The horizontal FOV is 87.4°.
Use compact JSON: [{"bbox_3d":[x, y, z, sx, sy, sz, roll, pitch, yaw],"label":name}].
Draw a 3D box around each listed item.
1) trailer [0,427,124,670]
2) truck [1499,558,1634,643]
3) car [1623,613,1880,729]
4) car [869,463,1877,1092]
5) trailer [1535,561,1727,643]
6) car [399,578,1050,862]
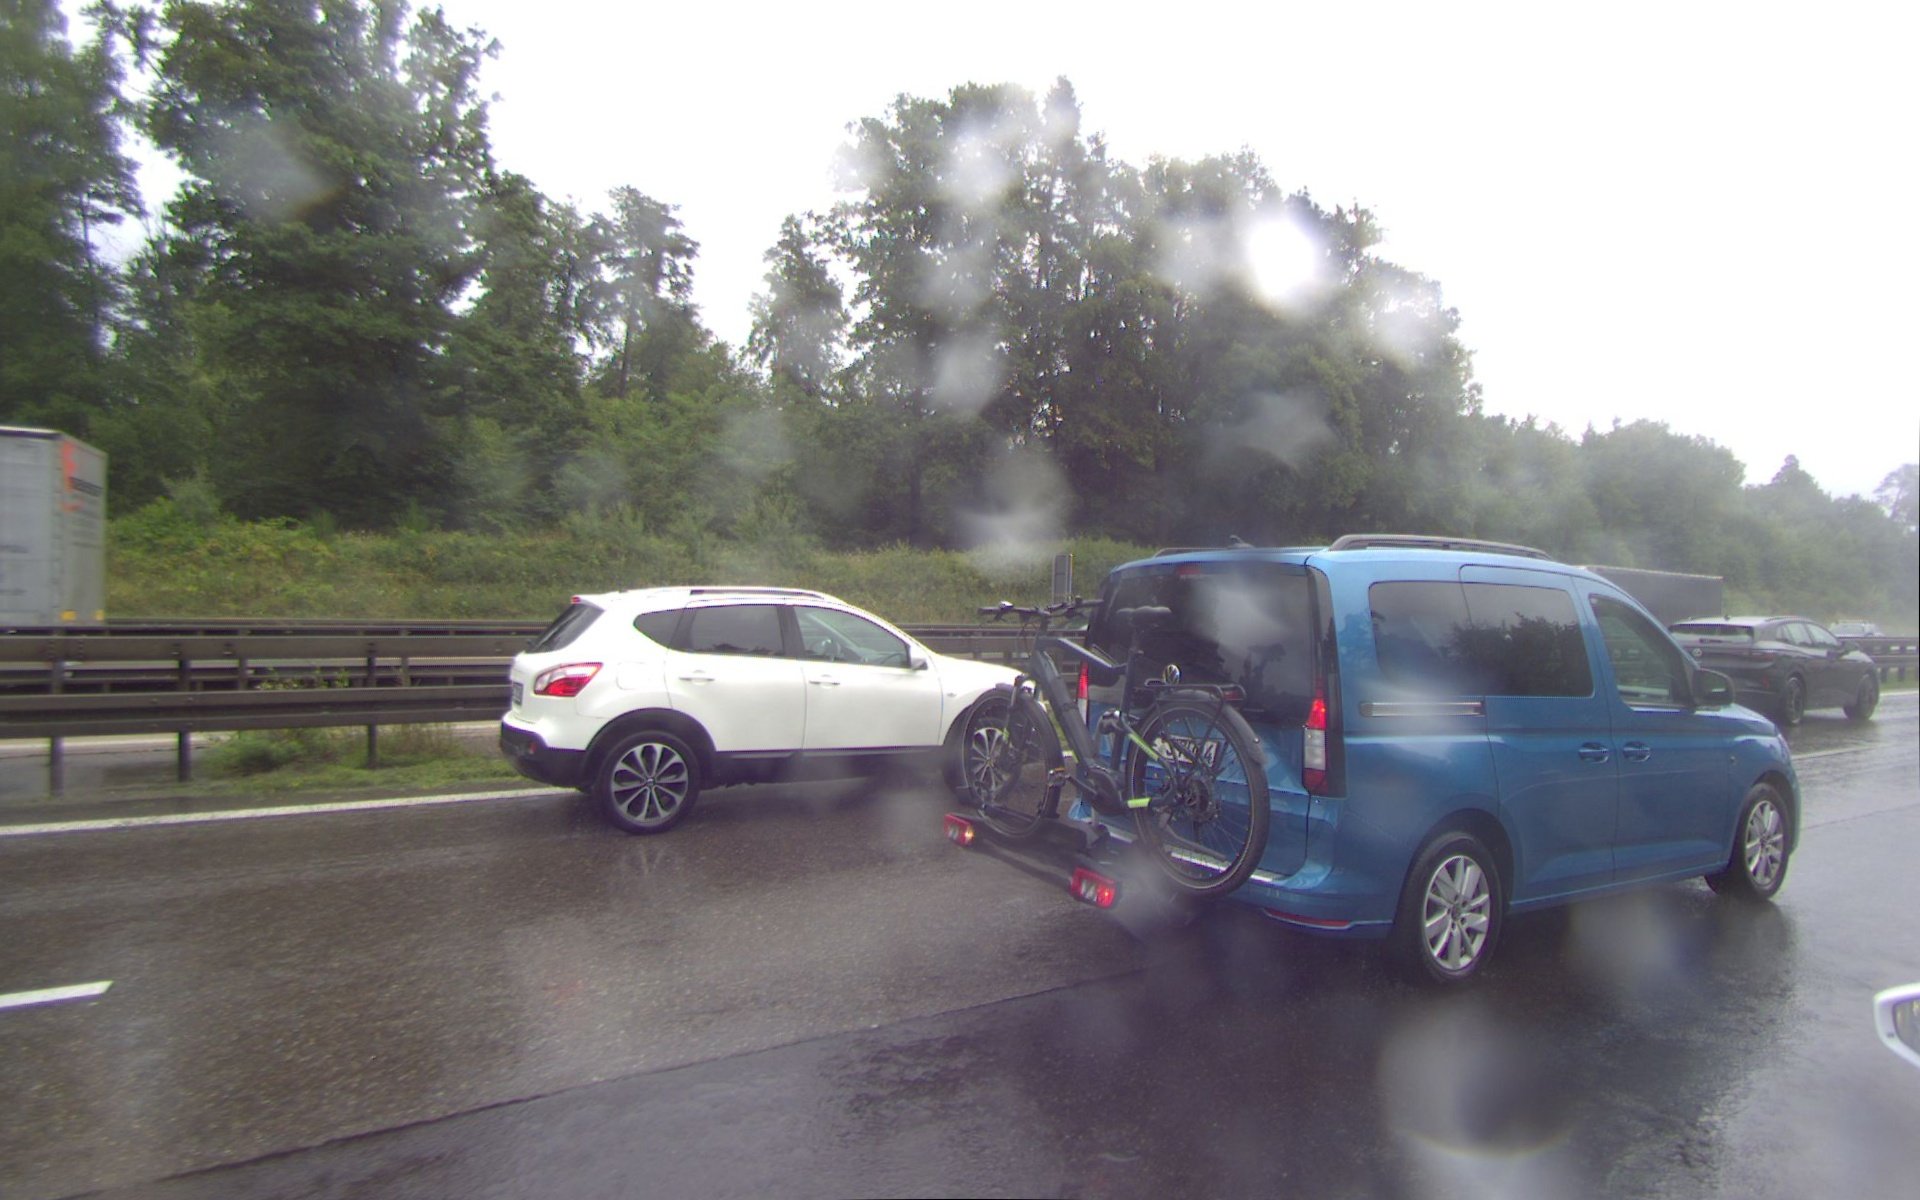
[{"bbox_3d":[-18.907,-0.882,15.433,8.897,3.869,2.671,1,0,-29],"label":"trailer"},{"bbox_3d":[29.368,0.083,48.588,6.192,3.869,3.005,1,0,-31],"label":"truck"},{"bbox_3d":[12.816,1.055,16.209,4.415,1.613,1.836,1,0,-31],"label":"car"},{"bbox_3d":[2.247,0.580,5.269,4.952,1.937,2.260,1,0,-28],"label":"car"},{"bbox_3d":[35.043,0.228,52.124,13.408,3.869,3.008,1,0,-32],"label":"trailer"},{"bbox_3d":[-1.669,0.712,7.588,4.411,1.613,1.838,1,0,-28],"label":"car"}]
